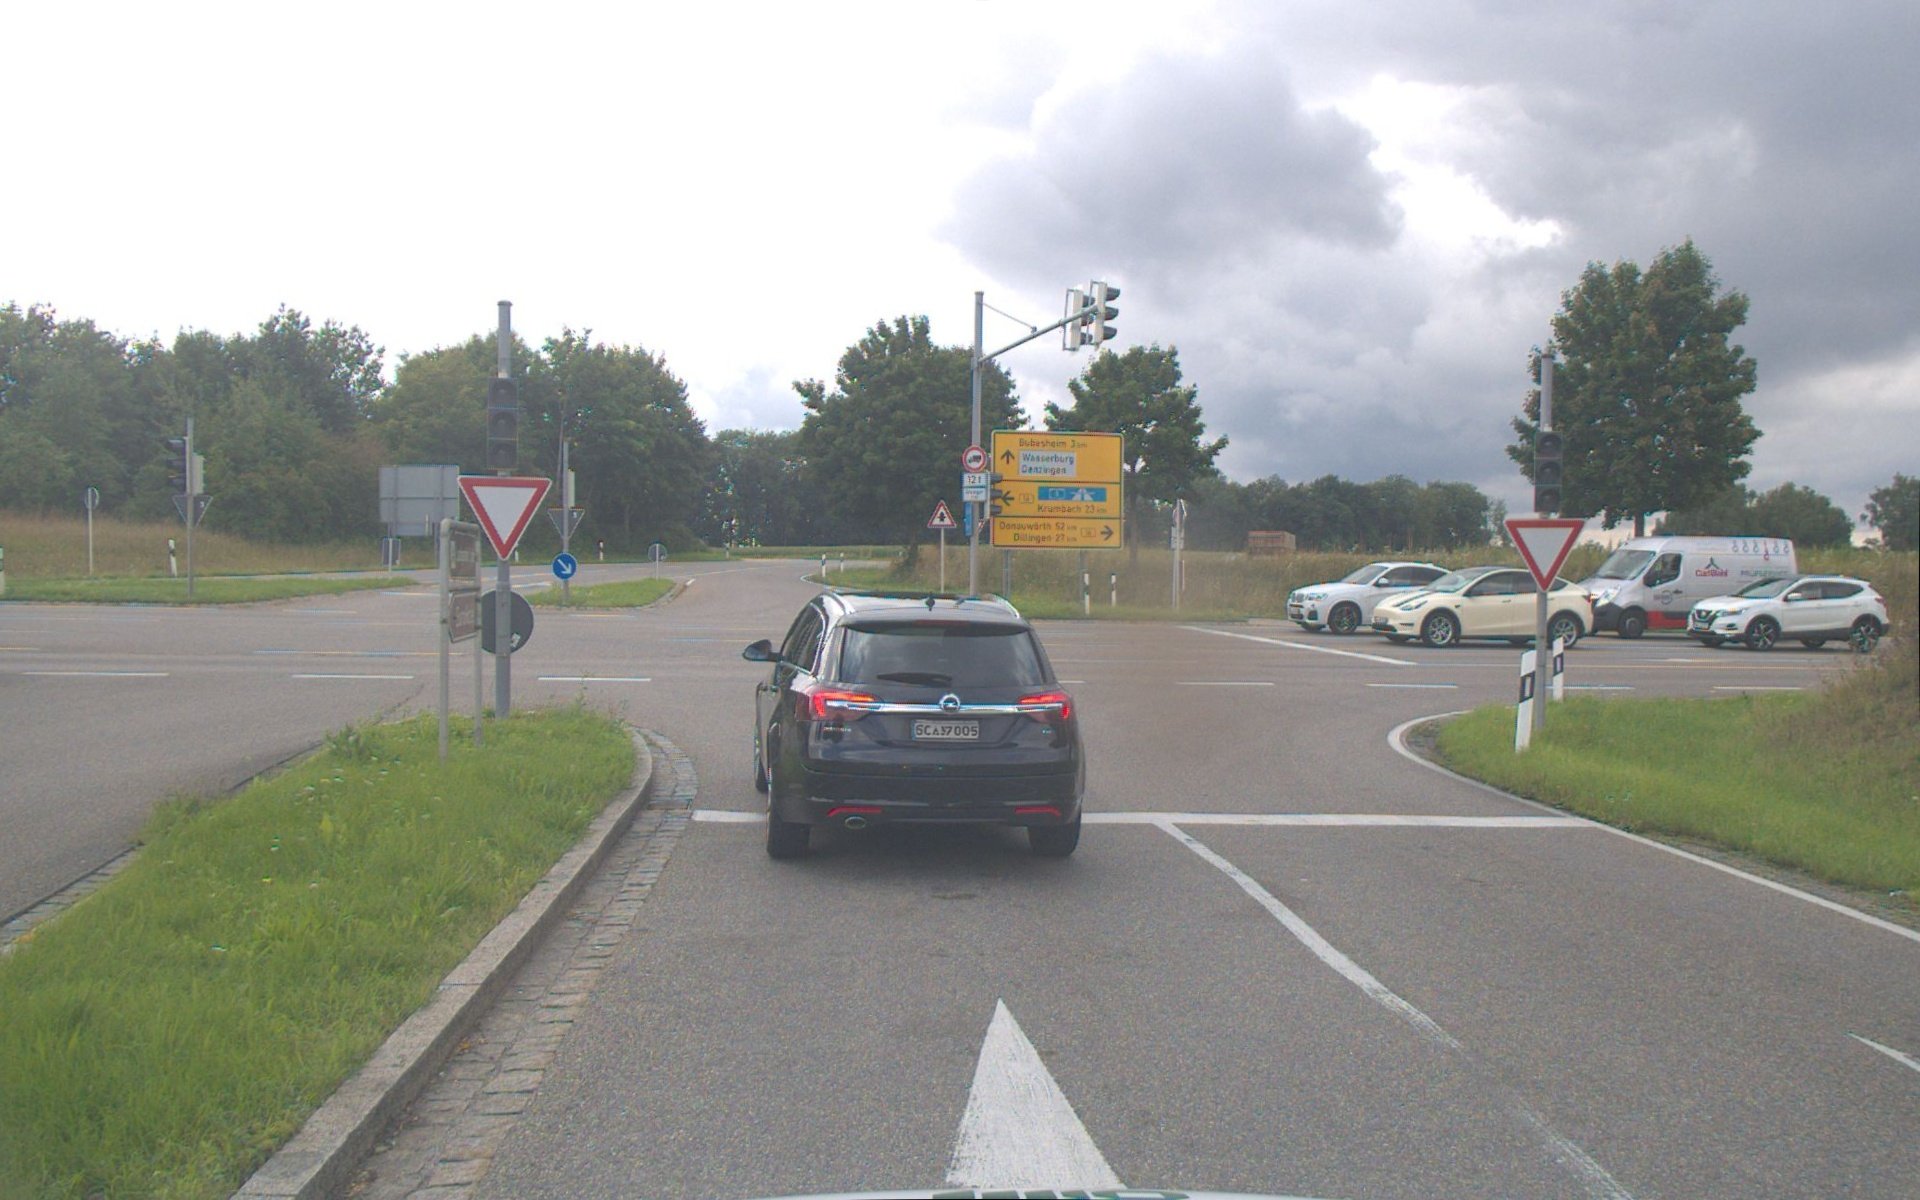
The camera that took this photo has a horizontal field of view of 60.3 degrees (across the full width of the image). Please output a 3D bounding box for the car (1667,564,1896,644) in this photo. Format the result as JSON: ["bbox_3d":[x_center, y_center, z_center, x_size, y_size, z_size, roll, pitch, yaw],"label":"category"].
[{"bbox_3d":[18.108,0.077,36.528,4.234,1.658,1.994,1,0,-13],"label":"car"}]

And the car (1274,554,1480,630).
[{"bbox_3d":[9.640,-0.187,38.328,4.188,1.657,1.993,1,0,-14],"label":"car"}]

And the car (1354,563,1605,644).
[{"bbox_3d":[10.834,0.072,34.595,4.651,1.592,1.994,1,0,-13],"label":"car"}]

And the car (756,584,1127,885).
[{"bbox_3d":[-0.338,0.661,10.452,1.774,1.476,4.265,1,1,-8],"label":"car"}]

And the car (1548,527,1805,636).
[{"bbox_3d":[17.505,-0.435,40.533,5.398,2.484,2.391,1,0,-12],"label":"car"}]
